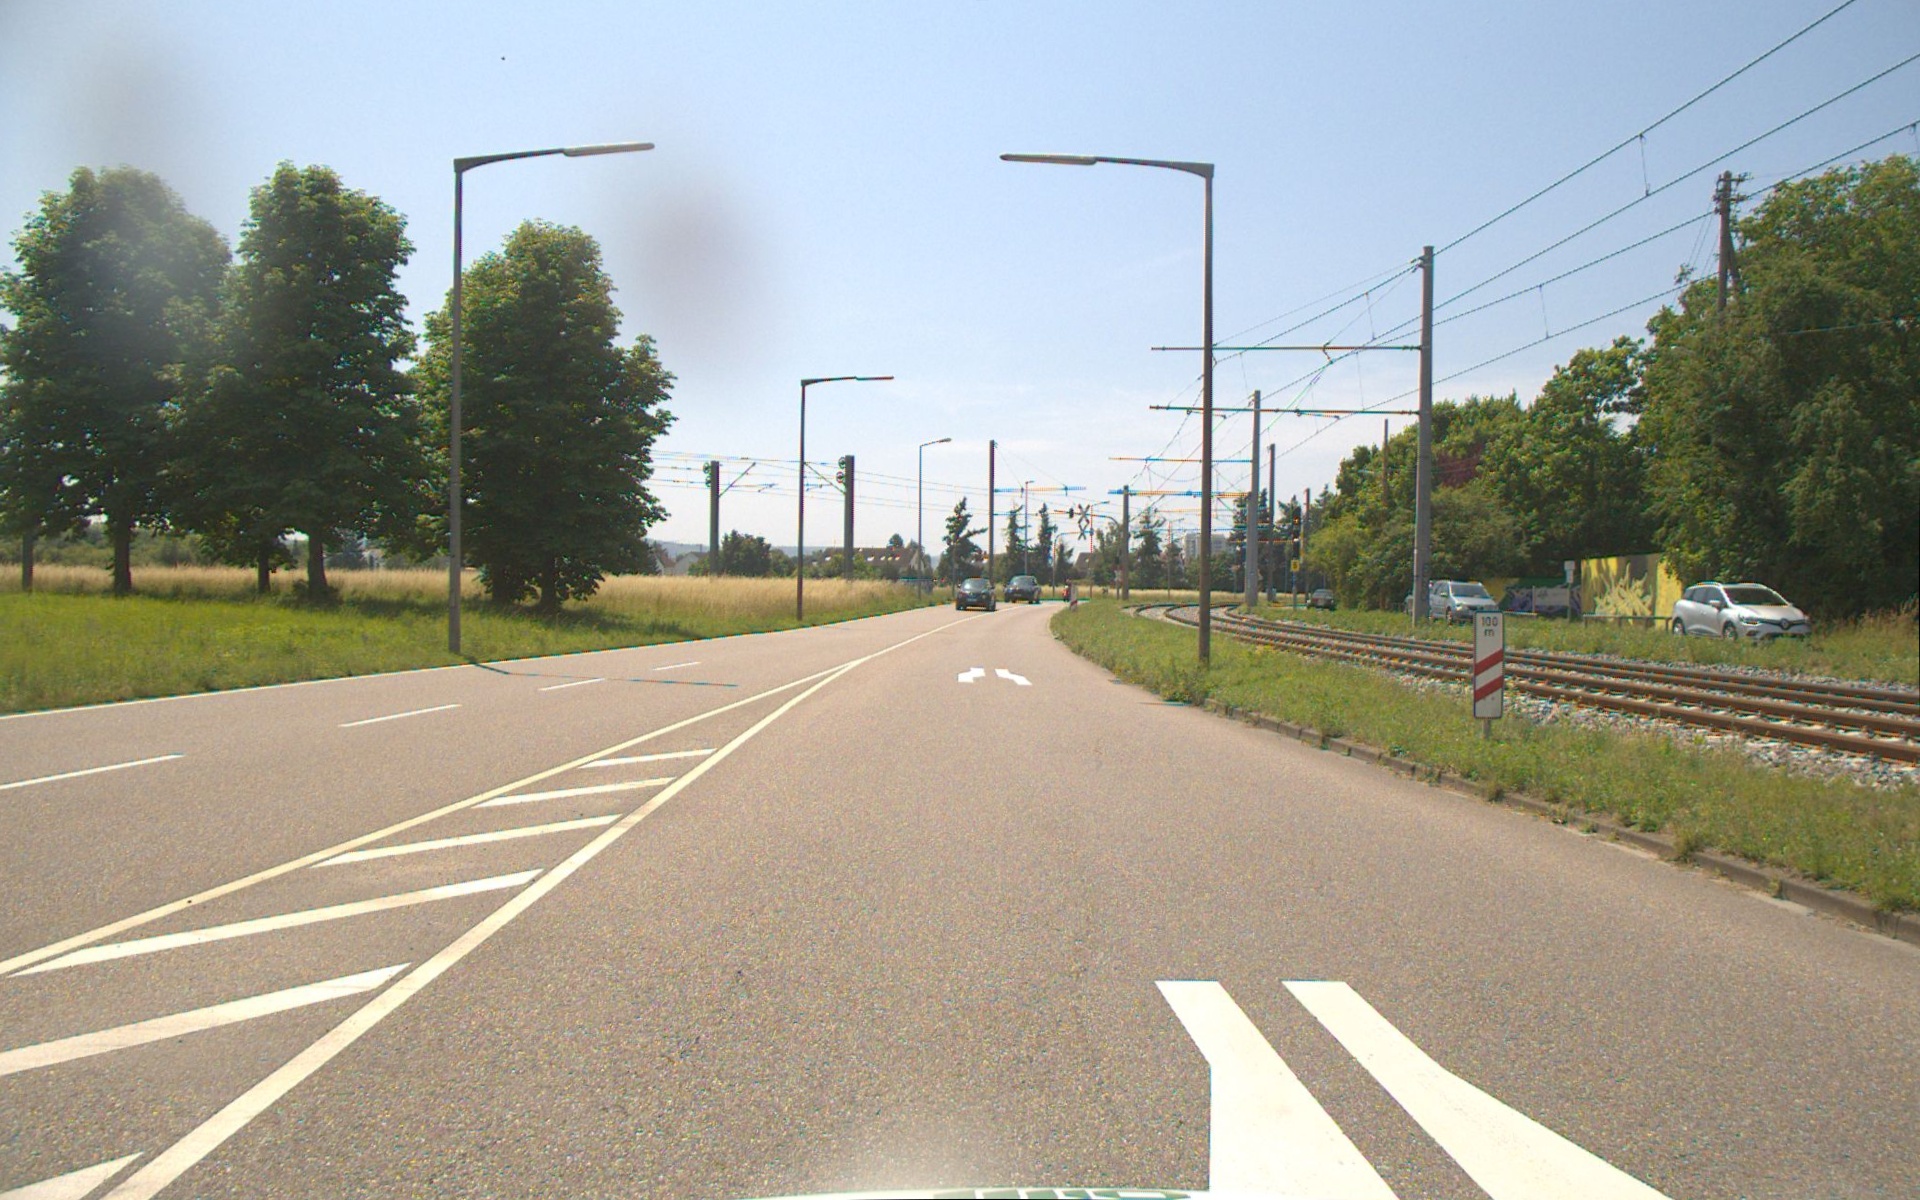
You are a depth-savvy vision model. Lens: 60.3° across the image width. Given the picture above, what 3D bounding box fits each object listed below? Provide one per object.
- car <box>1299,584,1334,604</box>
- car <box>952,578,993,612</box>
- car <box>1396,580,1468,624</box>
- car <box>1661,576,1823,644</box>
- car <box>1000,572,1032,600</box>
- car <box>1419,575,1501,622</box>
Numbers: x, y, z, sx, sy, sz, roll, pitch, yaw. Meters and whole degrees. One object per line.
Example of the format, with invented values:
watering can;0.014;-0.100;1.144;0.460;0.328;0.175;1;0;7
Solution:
car;23.184;-0.399;107.702;1.610;1.191;3.669;1;-1;2
car;0.656;-0.224;83.799;1.783;1.600;4.114;1;-1;5
car;19.164;0.110;67.312;1.789;1.686;4.817;1;-1;3
car;17.769;0.242;37.807;1.645;1.439;4.550;1;-1;1
car;3.490;-0.885;102.929;1.788;1.629;4.487;1;1;4
car;18.428;-0.035;61.162;1.642;1.653;4.711;1;-1;0
